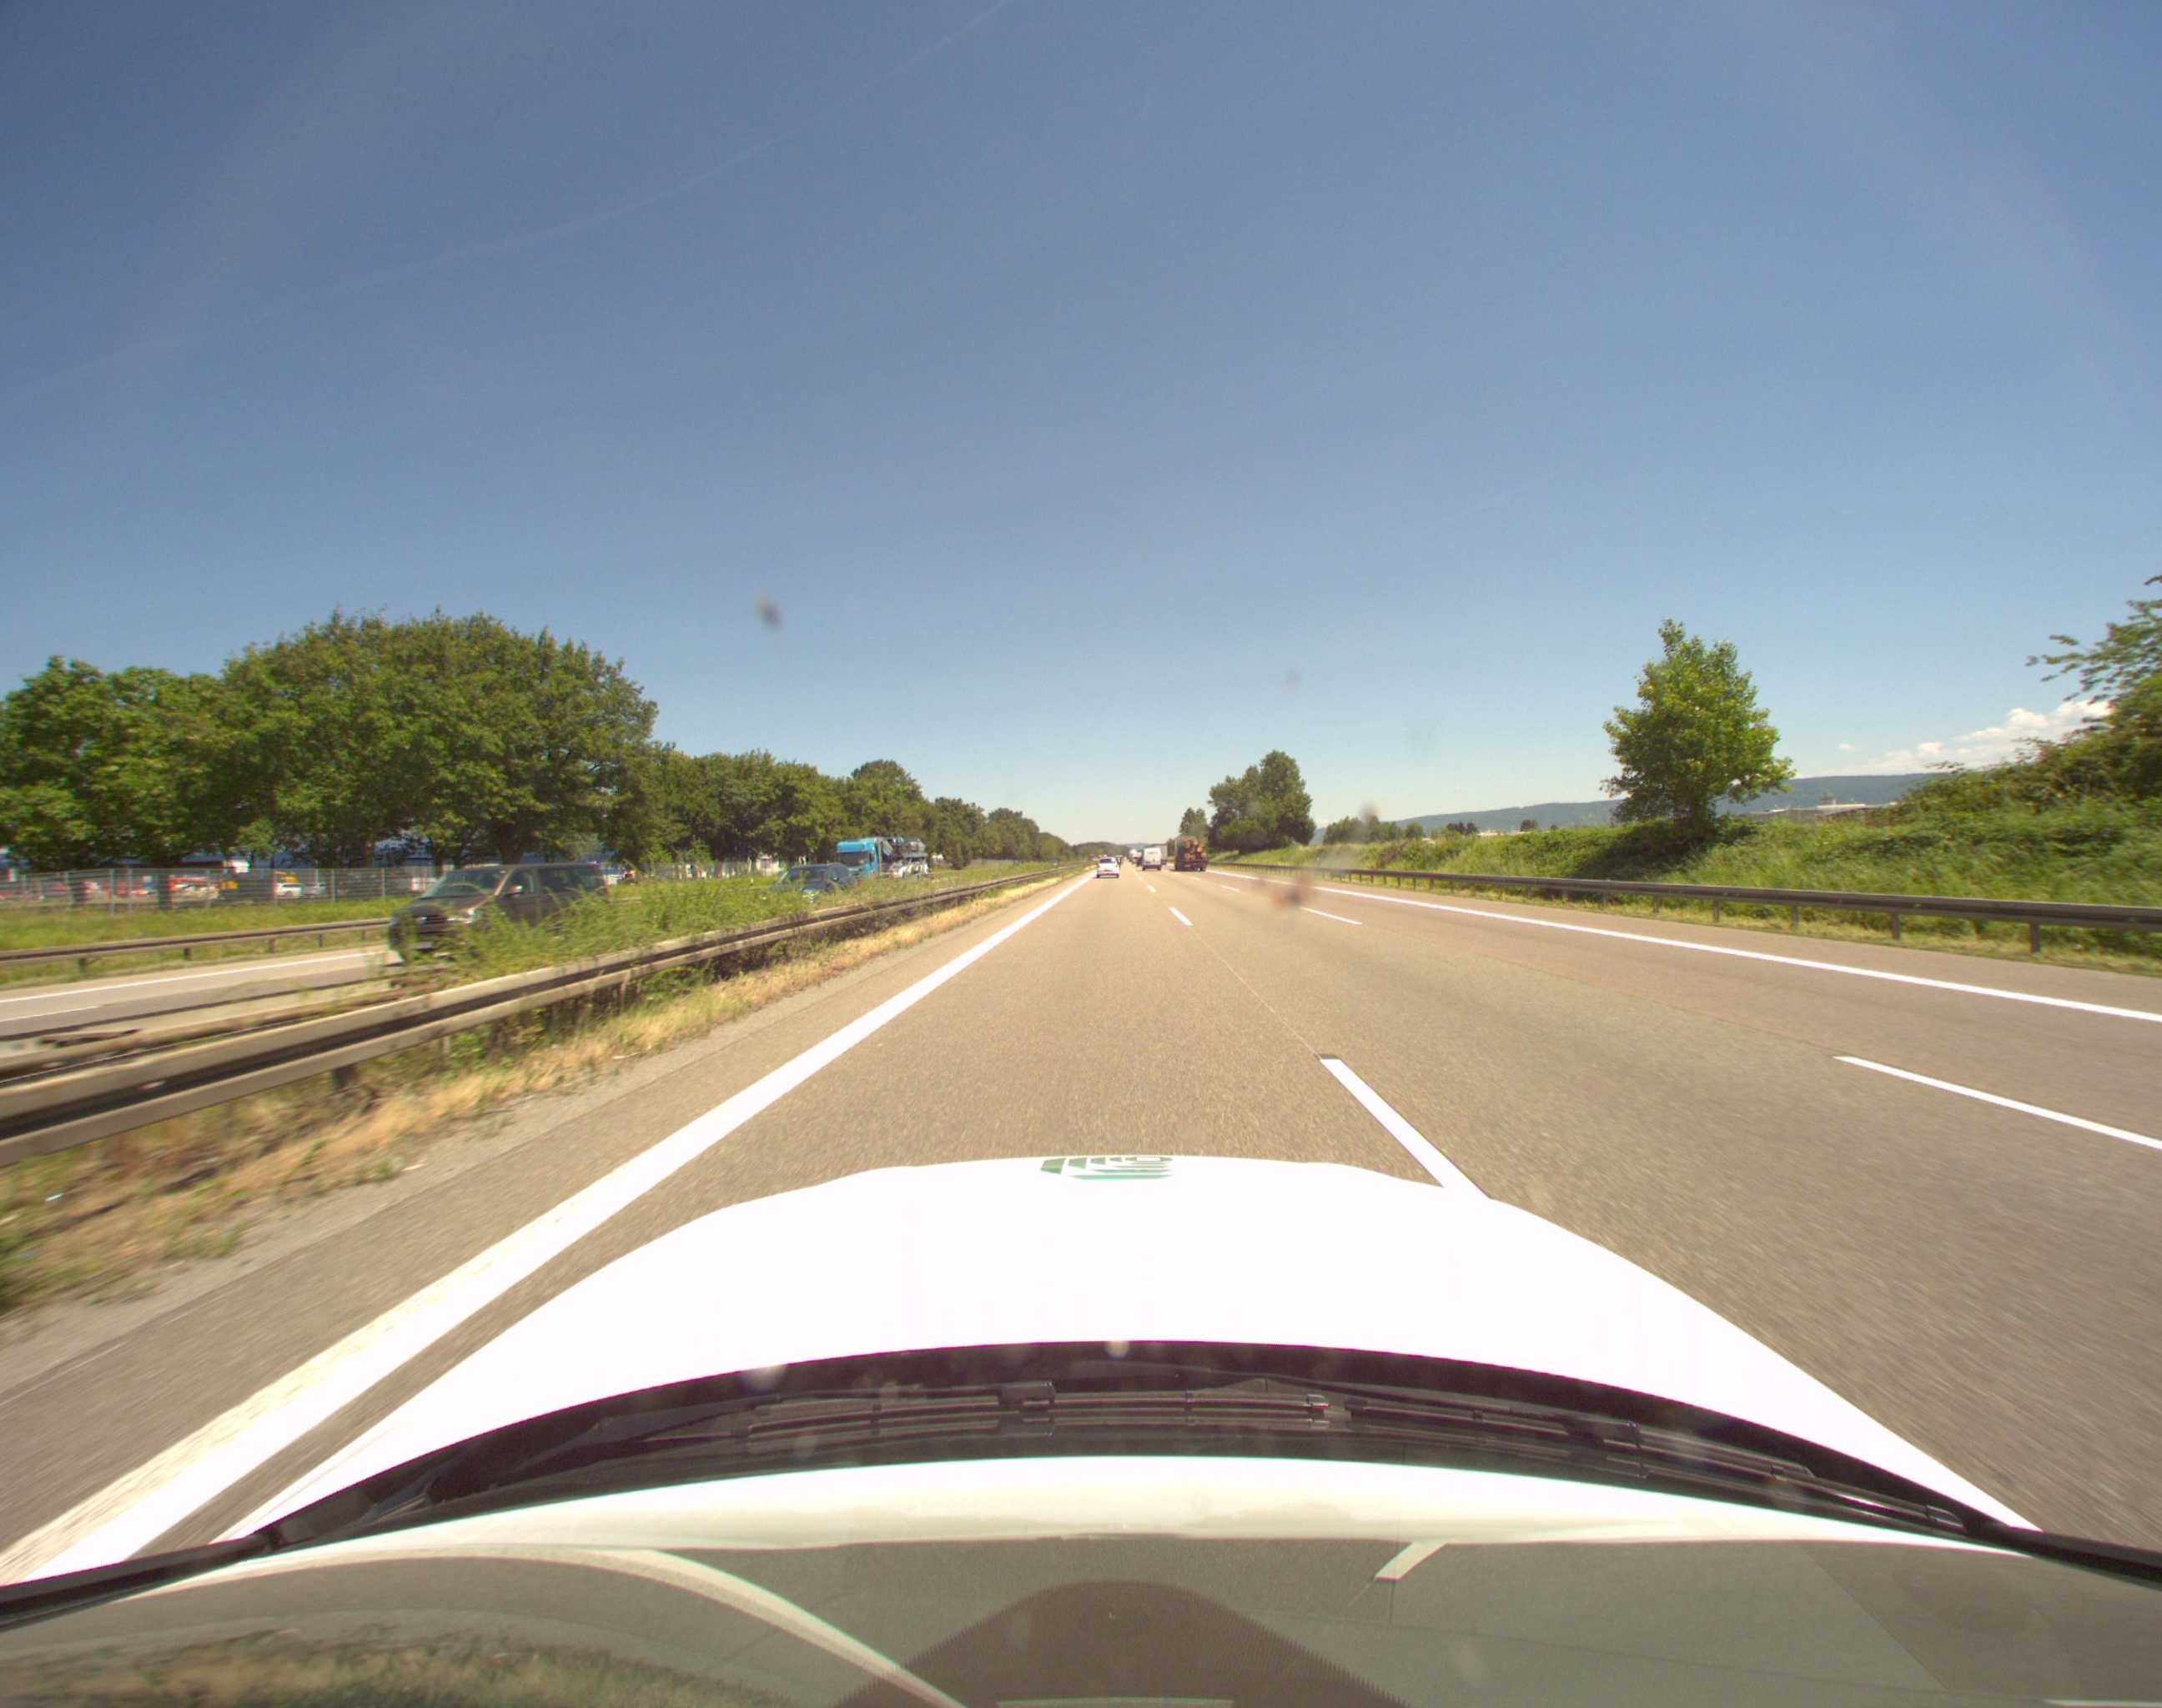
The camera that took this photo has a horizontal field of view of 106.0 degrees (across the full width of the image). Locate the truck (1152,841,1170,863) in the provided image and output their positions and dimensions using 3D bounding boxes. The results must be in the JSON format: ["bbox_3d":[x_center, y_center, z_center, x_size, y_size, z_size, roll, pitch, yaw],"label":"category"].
[{"bbox_3d":[15.920,-0.358,163.314,3.065,4.209,16.859,0,0,4],"label":"truck"}]

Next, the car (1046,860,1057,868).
[{"bbox_3d":[-5.907,1.934,161.757,1.785,1.578,4.213,-3,0,2],"label":"car"}]

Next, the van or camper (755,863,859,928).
[{"bbox_3d":[-8.225,1.187,24.849,1.704,1.769,4.001,0,0,2],"label":"van or camper"}]

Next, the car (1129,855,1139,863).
[{"bbox_3d":[11.311,1.133,174.294,1.850,1.652,4.001,-1,0,1],"label":"car"}]

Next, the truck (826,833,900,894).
[{"bbox_3d":[-15.601,0.660,58.903,2.868,3.975,7.376,-5,0,2],"label":"truck"}]

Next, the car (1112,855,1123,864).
[{"bbox_3d":[6.861,1.017,153.270,1.850,1.652,4.001,-1,0,1],"label":"car"}]

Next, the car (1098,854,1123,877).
[{"bbox_3d":[2.233,0.838,61.808,1.850,1.652,4.001,0,0,1],"label":"car"}]

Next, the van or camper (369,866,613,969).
[{"bbox_3d":[-12.741,1.266,18.049,1.986,1.869,4.457,-3,0,1],"label":"van or camper"}]

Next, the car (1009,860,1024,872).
[{"bbox_3d":[-10.824,1.959,137.431,1.986,2.014,4.275,0,0,2],"label":"car"}]

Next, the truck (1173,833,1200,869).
[{"bbox_3d":[12.415,-0.315,95.953,2.659,3.994,6.641,-1,0,3],"label":"truck"}]

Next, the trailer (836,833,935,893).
[{"bbox_3d":[-15.369,0.667,66.168,2.868,3.978,17.483,-5,0,2],"label":"trailer"}]

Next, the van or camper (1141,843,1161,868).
[{"bbox_3d":[7.847,0.174,92.251,2.050,2.622,5.990,-1,0,3],"label":"van or camper"}]

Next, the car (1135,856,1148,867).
[{"bbox_3d":[9.362,1.174,125.582,1.850,1.652,4.001,-1,0,1],"label":"car"}]

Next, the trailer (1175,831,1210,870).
[{"bbox_3d":[12.014,-0.340,88.730,2.642,3.958,13.647,-1,0,3],"label":"trailer"}]
